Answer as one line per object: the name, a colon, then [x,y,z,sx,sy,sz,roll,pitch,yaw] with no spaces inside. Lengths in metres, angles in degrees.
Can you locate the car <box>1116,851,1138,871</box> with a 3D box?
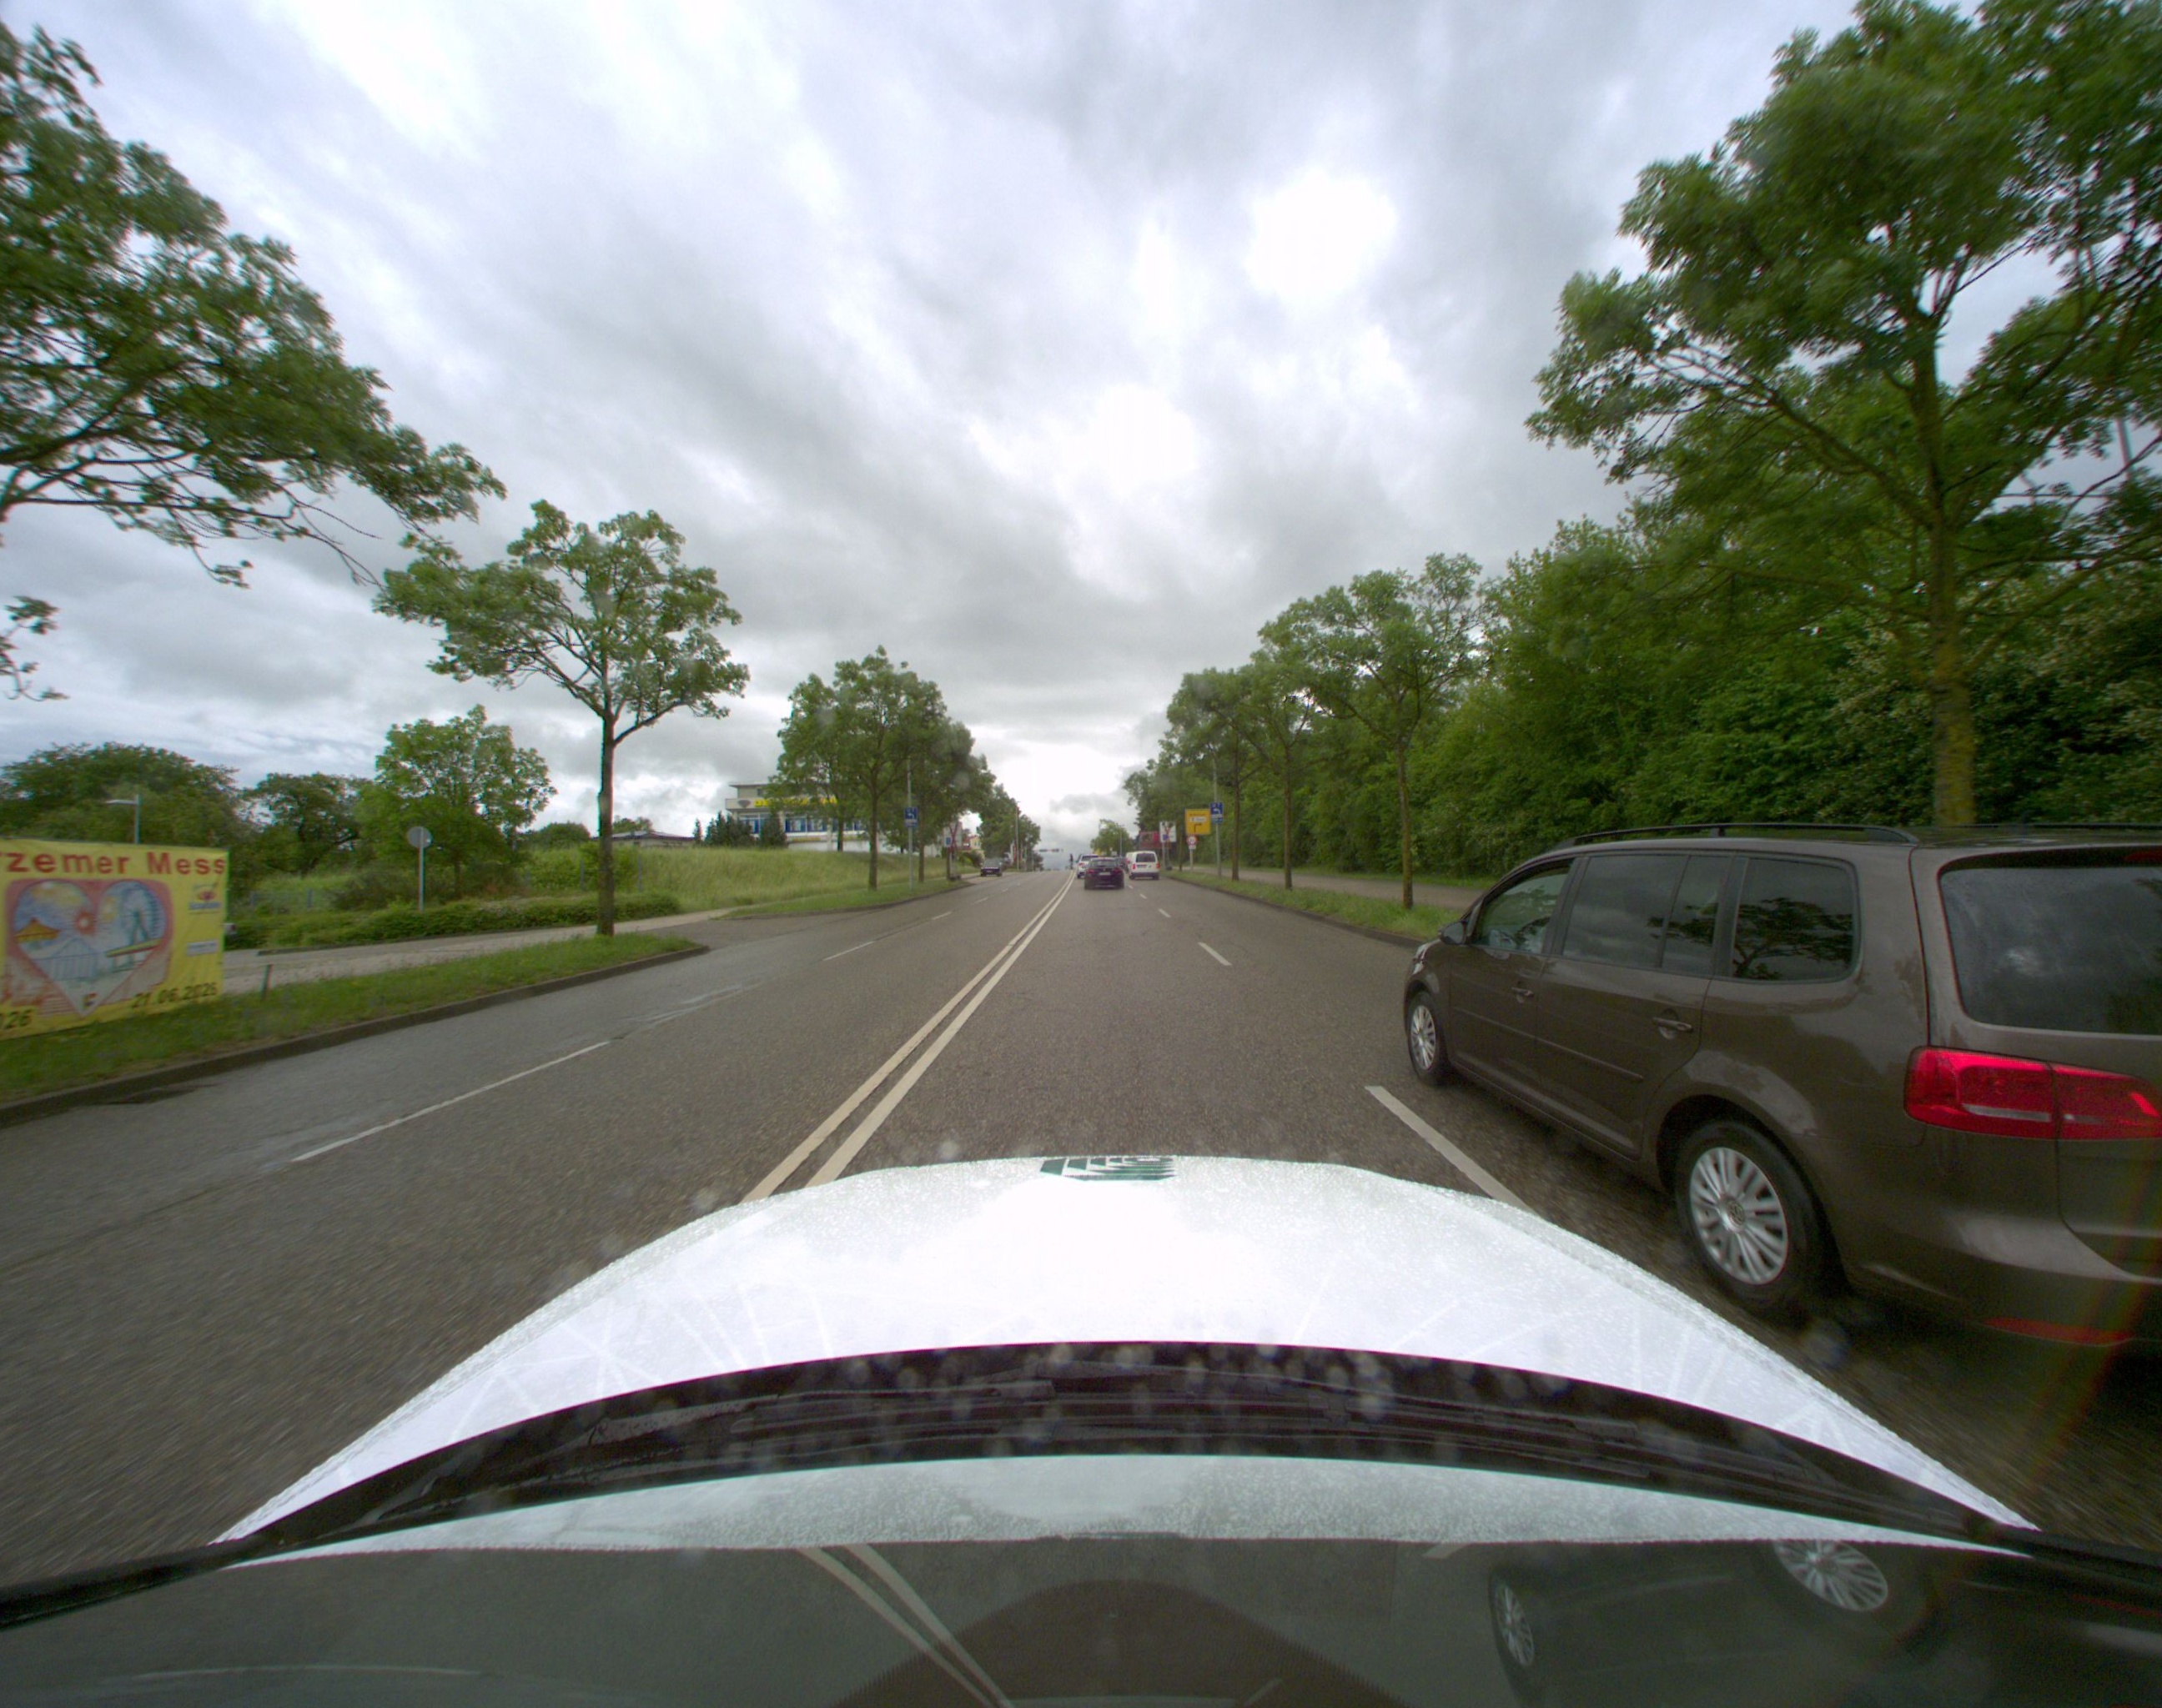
car: [4.148,0.604,73.508,1.807,1.708,3.947,-2,0,2]

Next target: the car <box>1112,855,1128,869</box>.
car: [4.240,0.842,88.792,1.594,1.372,3.681,-2,0,1]

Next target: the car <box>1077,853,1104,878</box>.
car: [0.691,0.775,56.618,1.721,1.711,3.385,-1,0,3]

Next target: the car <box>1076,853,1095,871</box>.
car: [0.444,0.753,81.677,1.752,1.708,3.947,-2,0,2]

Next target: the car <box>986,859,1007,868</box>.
car: [-15.568,1.780,149.762,3.824,1.482,1.737,-2,-1,-8]

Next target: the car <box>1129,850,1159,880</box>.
car: [3.972,0.683,51.952,1.735,1.869,3.947,-1,0,2]

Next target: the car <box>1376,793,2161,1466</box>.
car: [3.037,0.666,4.017,1.708,1.596,4.131,-1,-1,1]

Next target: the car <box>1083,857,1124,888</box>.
car: [1.087,0.854,38.827,1.847,1.419,3.959,-1,0,2]

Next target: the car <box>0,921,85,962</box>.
car: [-39.044,3.210,29.333,1.441,1.264,3.732,-2,0,12]

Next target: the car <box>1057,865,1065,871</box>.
car: [-5.090,3.549,206.971,1.791,1.584,4.195,-3,0,-1]

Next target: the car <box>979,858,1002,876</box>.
car: [-8.670,1.205,78.124,1.720,1.668,4.487,0,0,0]
